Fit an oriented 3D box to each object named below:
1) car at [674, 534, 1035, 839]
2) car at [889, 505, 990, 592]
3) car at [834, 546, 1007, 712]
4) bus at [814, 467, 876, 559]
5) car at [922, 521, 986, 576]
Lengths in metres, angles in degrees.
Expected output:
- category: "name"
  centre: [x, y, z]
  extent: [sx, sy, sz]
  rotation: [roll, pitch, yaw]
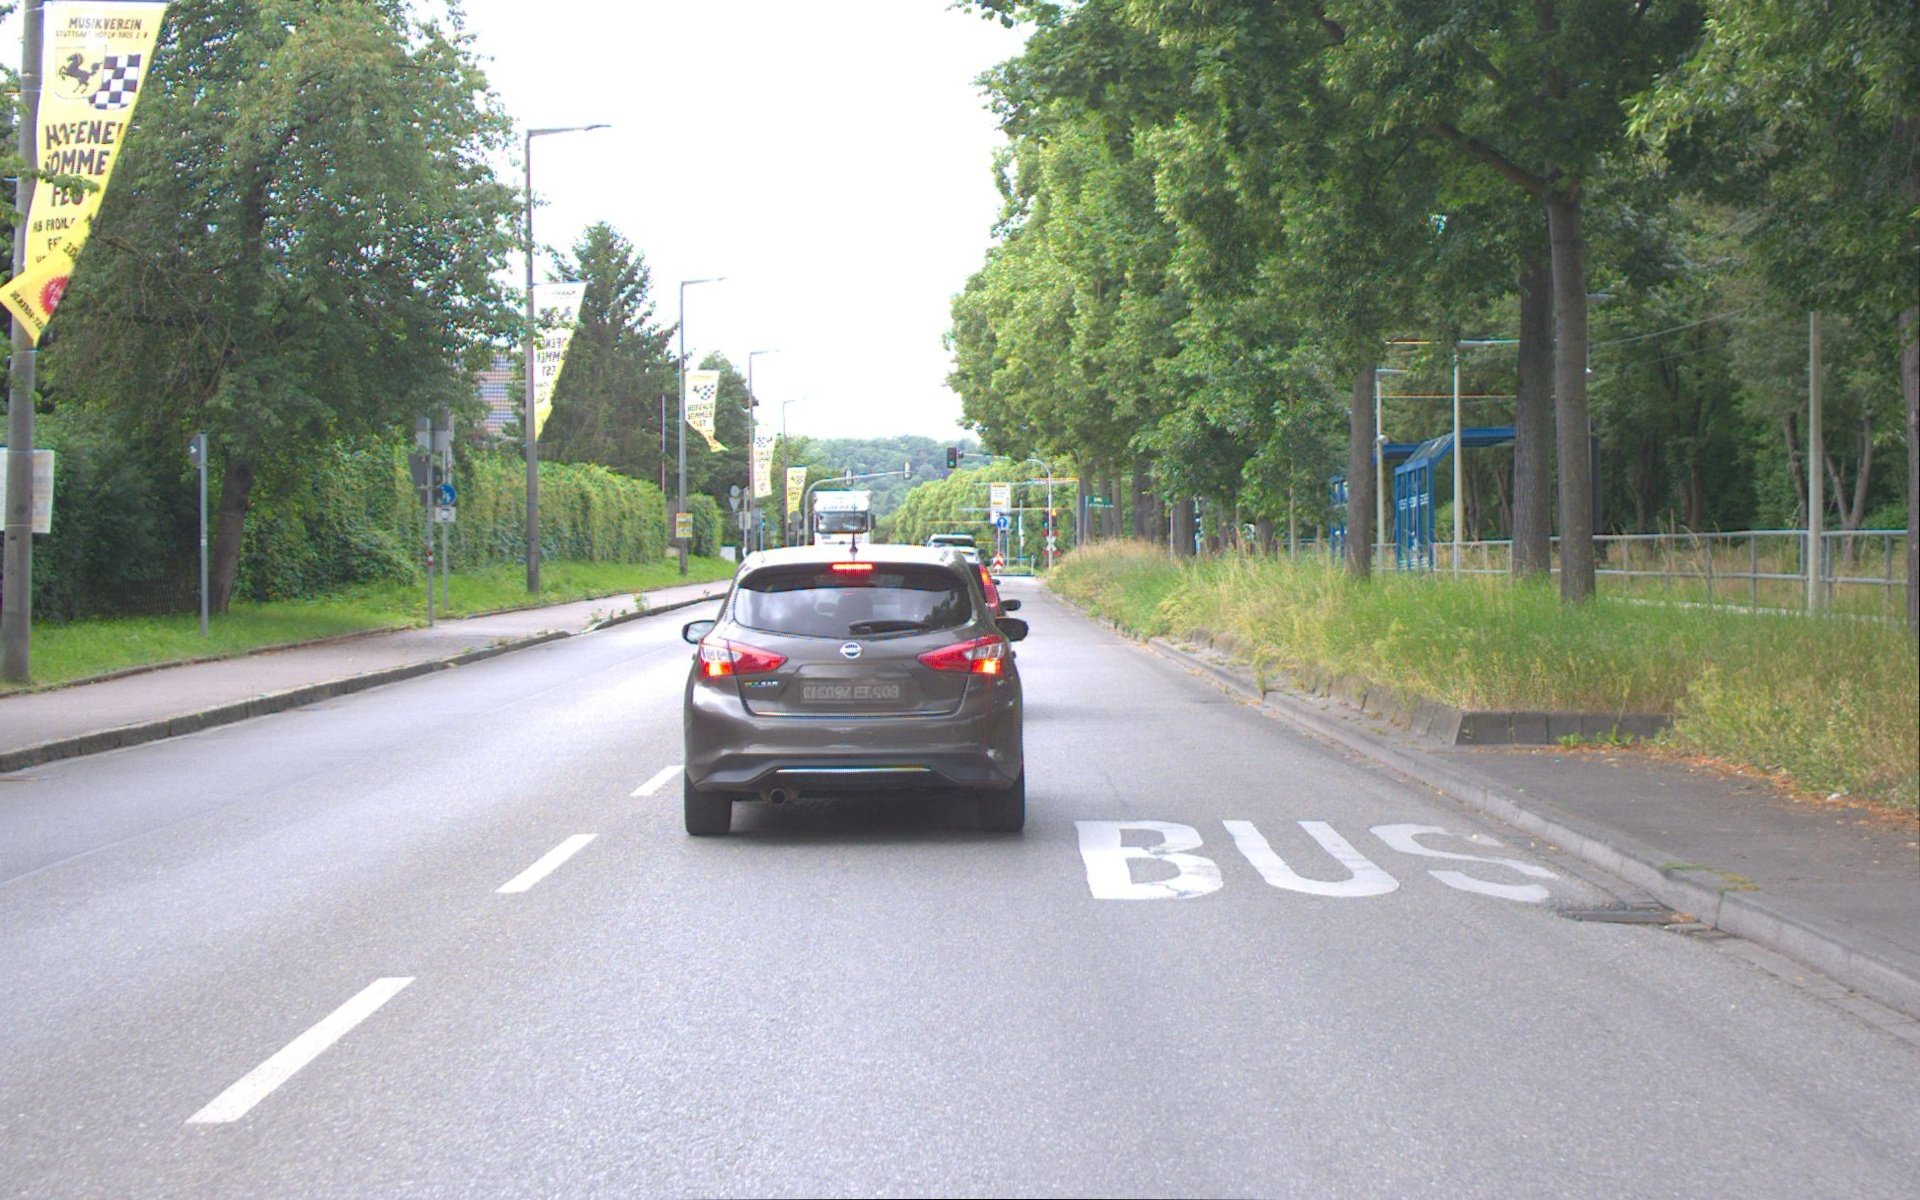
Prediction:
- category: "car"
  centre: [-0.525, 0.411, 18.951]
  extent: [1.783, 1.501, 3.696]
  rotation: [0, 1, 0]
- category: "car"
  centre: [-0.369, -0.900, 59.857]
  extent: [1.691, 1.436, 3.542]
  rotation: [1, 1, -1]
- category: "car"
  centre: [-0.359, 0.228, 31.903]
  extent: [1.502, 1.436, 3.542]
  rotation: [1, 1, -1]
- category: "bus"
  centre: [-5.158, -3.942, 155.874]
  extent: [2.487, 4.012, 10.218]
  rotation: [0, 1, 0]
- category: "car"
  centre: [-0.168, -1.402, 93.597]
  extent: [1.691, 1.436, 3.542]
  rotation: [1, 1, -1]
